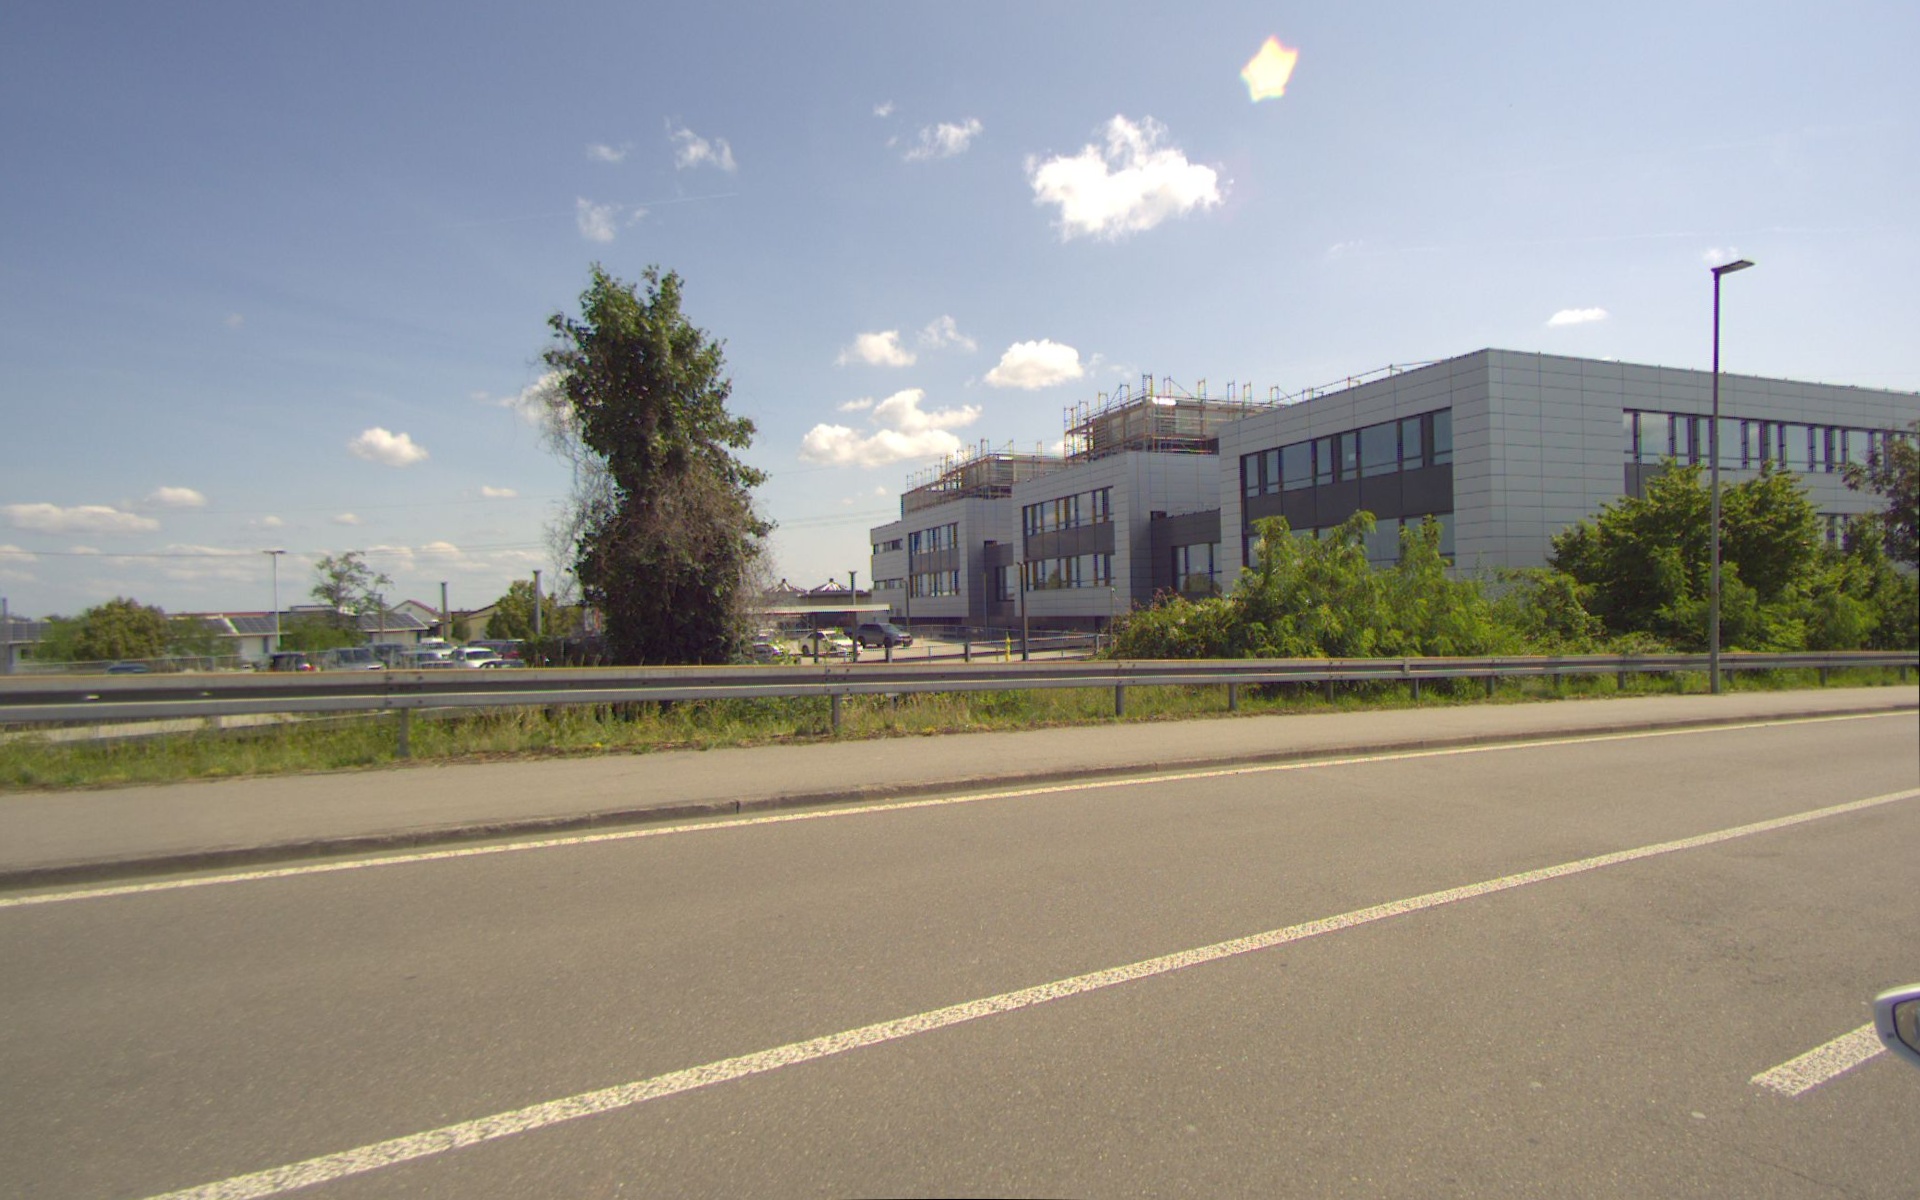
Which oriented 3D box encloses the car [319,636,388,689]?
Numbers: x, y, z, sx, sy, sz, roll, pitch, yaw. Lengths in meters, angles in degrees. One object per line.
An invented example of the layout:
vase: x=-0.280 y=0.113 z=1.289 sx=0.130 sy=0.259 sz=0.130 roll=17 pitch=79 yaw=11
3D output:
car: x=-25.465 y=2.602 z=42.136 sx=1.982 sy=2.040 sz=3.957 roll=-1 pitch=-2 yaw=-38

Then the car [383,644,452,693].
car: x=-23.557 y=2.933 z=43.595 sx=1.983 sy=2.040 sz=3.957 roll=2 pitch=-3 yaw=-38

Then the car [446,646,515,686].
car: x=-21.673 y=2.948 z=45.310 sx=1.983 sy=1.706 sz=3.957 roll=2 pitch=-3 yaw=-38

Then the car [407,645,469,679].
car: x=-30.540 y=3.570 z=58.684 sx=3.944 sy=1.862 sz=1.989 roll=-1 pitch=-2 yaw=43

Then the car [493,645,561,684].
car: x=-20.340 y=2.998 z=47.064 sx=1.983 sy=1.731 sz=3.957 roll=2 pitch=-3 yaw=-38

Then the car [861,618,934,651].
car: x=-4.171 y=2.234 z=66.312 sx=1.987 sy=2.040 sz=5.018 roll=-2 pitch=1 yaw=-45

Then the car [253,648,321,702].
car: x=-27.163 y=2.978 z=40.501 sx=1.983 sy=2.040 sz=3.957 roll=2 pitch=-3 yaw=-38

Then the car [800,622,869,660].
car: x=-7.414 y=2.364 z=59.170 sx=1.987 sy=2.041 sz=3.947 roll=-2 pitch=1 yaw=-45

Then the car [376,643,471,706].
car: x=-19.055 y=2.580 z=35.608 sx=1.947 sy=1.895 sz=3.948 roll=-2 pitch=1 yaw=-44

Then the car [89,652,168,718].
car: x=-30.607 y=3.073 z=37.075 sx=1.981 sy=2.041 sz=3.957 roll=-3 pitch=1 yaw=-37
